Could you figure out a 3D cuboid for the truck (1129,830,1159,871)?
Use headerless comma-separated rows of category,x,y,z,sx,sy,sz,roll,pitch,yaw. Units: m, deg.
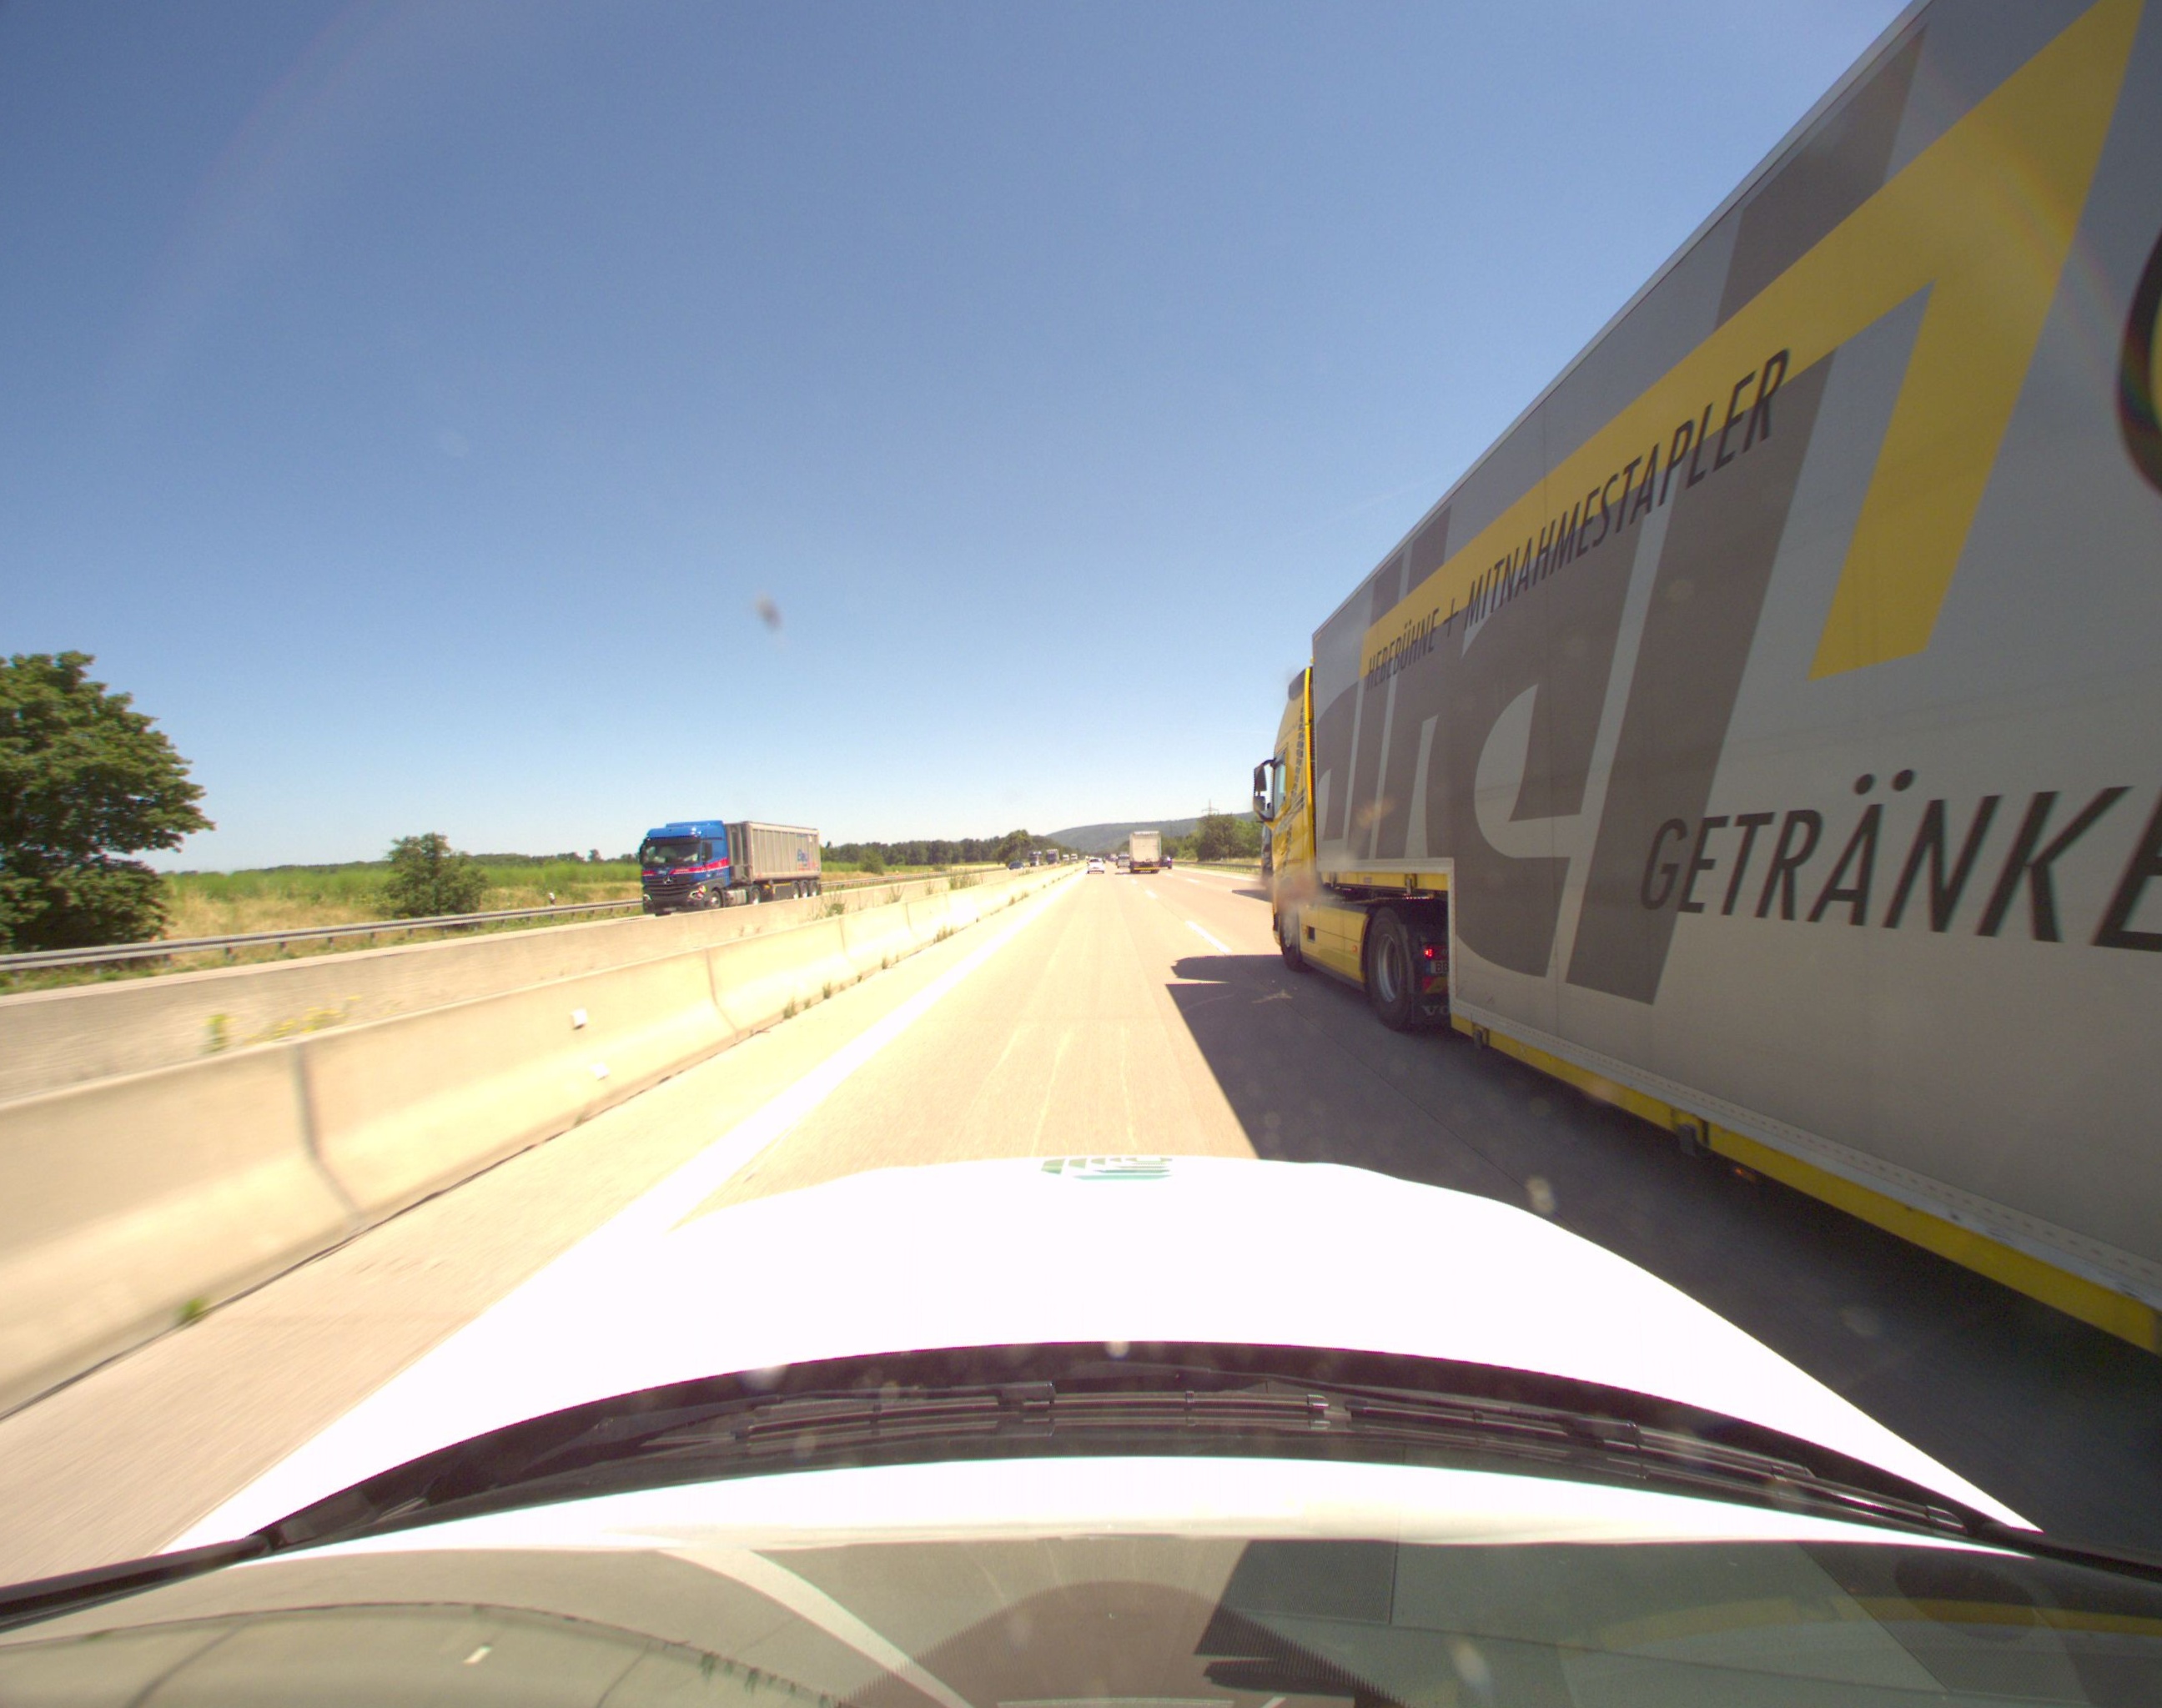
truck,6.087,-0.341,79.316,2.572,3.878,4.984,0,0,1

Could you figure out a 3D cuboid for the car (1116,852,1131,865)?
car,6.106,0.682,118.200,1.986,1.849,4.000,0,0,1

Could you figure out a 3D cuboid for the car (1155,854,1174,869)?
car,10.504,0.927,102.623,1.986,1.849,4.000,1,0,1

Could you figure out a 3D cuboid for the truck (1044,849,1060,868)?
truck,-7.268,1.053,204.315,3.256,4.476,7.191,-3,-1,1

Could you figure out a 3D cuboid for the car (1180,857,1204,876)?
car,11.534,1.298,84.606,1.986,1.849,4.000,1,0,1

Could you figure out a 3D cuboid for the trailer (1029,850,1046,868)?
trailer,-11.087,1.241,207.536,3.220,4.606,12.296,0,0,1

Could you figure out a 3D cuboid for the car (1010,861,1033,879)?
car,-6.342,1.652,87.215,1.986,1.862,5.468,0,0,1

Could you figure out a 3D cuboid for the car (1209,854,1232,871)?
car,15.700,0.992,91.776,1.986,1.849,4.000,1,0,1

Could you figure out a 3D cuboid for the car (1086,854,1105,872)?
car,1.463,0.909,80.872,1.813,1.662,4.000,-1,0,0

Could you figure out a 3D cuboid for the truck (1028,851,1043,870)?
truck,-11.252,1.687,201.423,3.220,4.606,6.252,0,0,1

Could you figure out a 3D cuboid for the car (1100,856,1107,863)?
car,6.293,1.631,228.191,1.986,1.849,4.000,1,0,1

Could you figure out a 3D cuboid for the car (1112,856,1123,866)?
car,7.431,1.396,166.789,1.987,1.849,4.000,1,0,1

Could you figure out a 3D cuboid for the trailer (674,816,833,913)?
trailer,-16.079,0.491,41.365,2.970,4.090,11.608,-2,0,1

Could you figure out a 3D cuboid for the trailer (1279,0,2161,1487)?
trailer,3.418,-0.709,2.792,1.986,4.254,15.201,0,0,1

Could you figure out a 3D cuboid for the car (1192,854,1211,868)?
car,15.923,0.936,107.554,1.986,1.849,4.000,1,0,1

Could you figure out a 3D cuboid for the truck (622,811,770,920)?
truck,-16.227,0.469,34.934,2.971,4.090,6.467,-3,-1,1

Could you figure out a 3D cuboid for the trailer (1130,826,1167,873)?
trailer,6.004,-0.348,74.025,2.572,3.878,10.373,0,0,1

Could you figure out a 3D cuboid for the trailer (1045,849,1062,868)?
trailer,-7.072,1.170,211.466,3.256,4.475,14.454,-3,0,1

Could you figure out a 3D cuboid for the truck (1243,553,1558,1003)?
truck,3.538,-0.711,10.308,1.987,4.254,5.195,0,-1,1

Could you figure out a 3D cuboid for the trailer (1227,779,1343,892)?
trailer,8.933,-0.644,37.727,1.986,4.193,14.749,0,0,1

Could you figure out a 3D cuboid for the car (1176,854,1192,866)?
car,16.632,0.932,131.603,1.986,1.849,4.000,1,0,1
